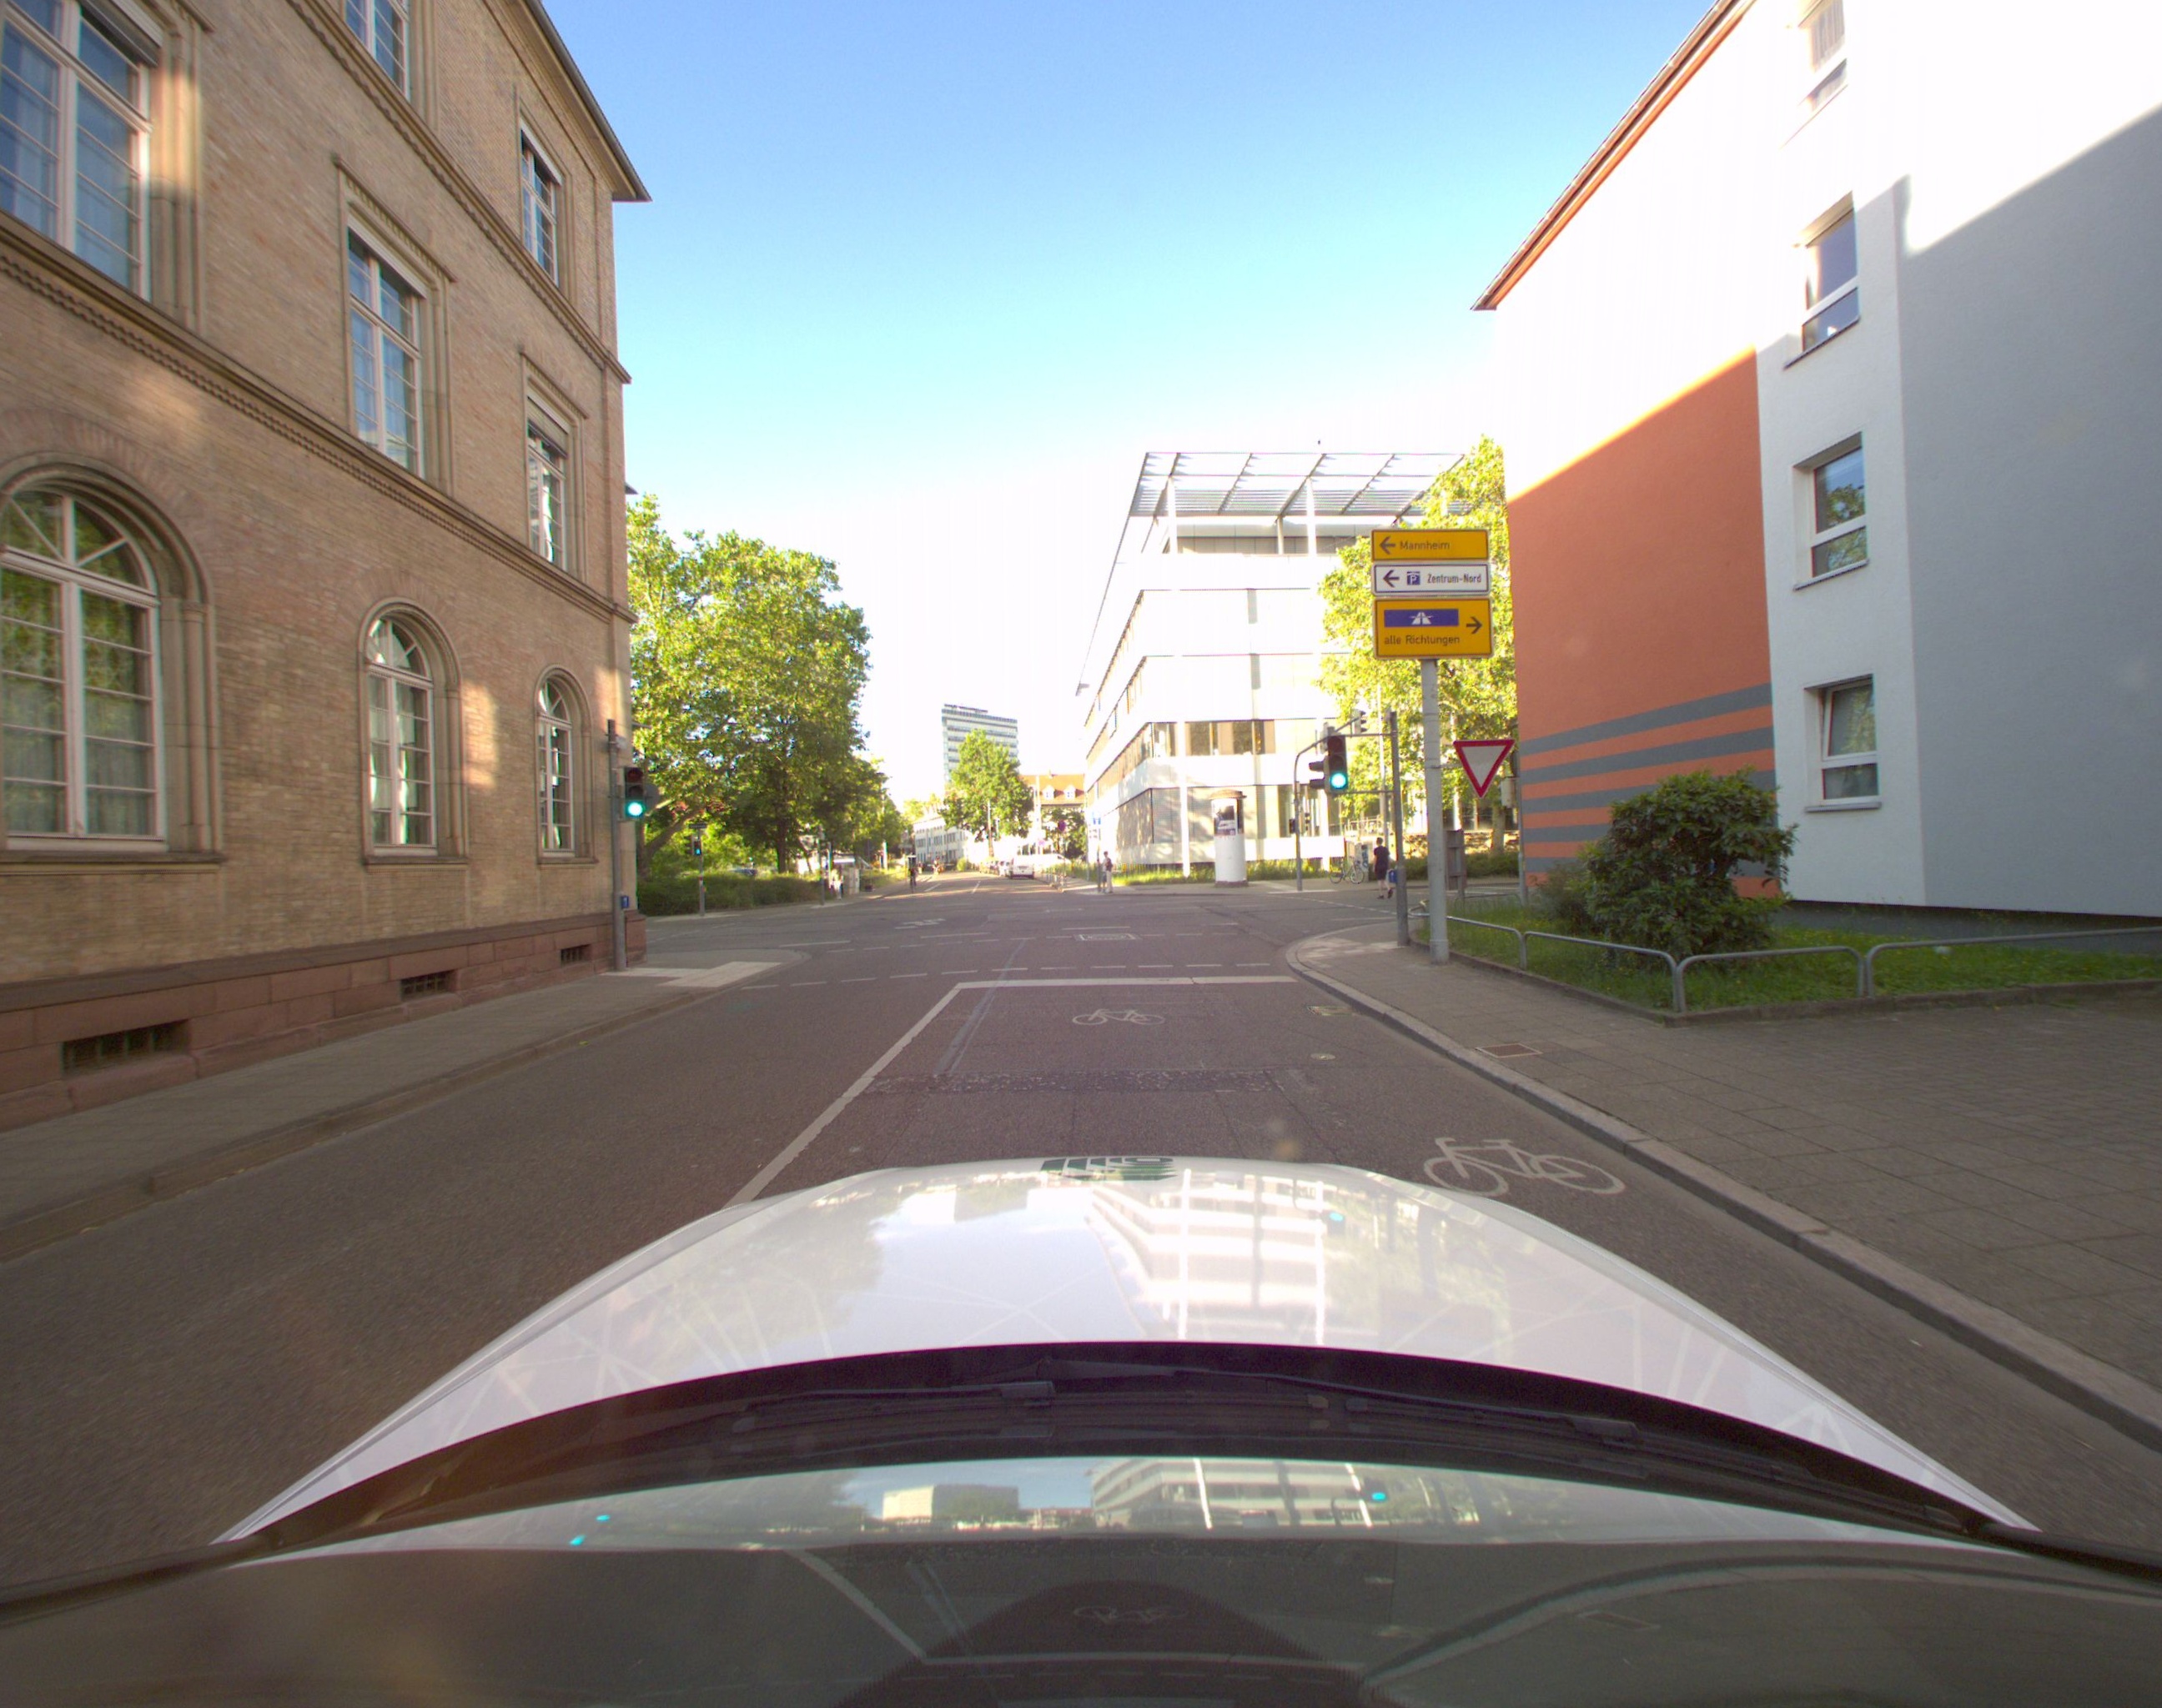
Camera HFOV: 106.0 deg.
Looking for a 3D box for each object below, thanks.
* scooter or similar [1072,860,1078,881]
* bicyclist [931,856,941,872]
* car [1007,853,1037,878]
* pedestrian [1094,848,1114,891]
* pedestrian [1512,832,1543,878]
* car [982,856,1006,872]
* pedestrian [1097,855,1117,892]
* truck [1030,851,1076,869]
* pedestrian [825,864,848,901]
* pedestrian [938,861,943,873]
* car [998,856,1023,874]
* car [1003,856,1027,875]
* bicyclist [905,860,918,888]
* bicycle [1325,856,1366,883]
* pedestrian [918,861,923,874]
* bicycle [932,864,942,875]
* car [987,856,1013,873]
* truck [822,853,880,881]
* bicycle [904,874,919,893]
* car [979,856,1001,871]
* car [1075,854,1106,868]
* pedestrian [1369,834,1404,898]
[{"bbox_3d":[-0.448,1.159,57.591,0.329,1.424,1.333,0,-1,-3],"label":"scooter or similar"},{"bbox_3d":[-14.686,1.005,82.689,0.865,1.515,1.016,-5,0,-9],"label":"bicyclist"},{"bbox_3d":[-4.658,0.902,63.843,2.084,1.795,4.404,-2,1,-7],"label":"car"},{"bbox_3d":[1.061,0.706,36.765,0.555,1.850,0.680,-5,0,18],"label":"pedestrian"},{"bbox_3d":[18.078,0.030,32.961,0.834,1.840,0.707,-1,0,-8],"label":"pedestrian"},{"bbox_3d":[-9.617,1.112,89.933,1.892,1.655,4.391,-2,1,-16],"label":"car"},{"bbox_3d":[1.149,0.860,36.154,0.560,1.540,0.673,-5,0,-16],"label":"pedestrian"},{"bbox_3d":[-3.546,0.778,102.235,5.350,2.014,1.989,-2,-1,-17],"label":"truck"},{"bbox_3d":[-11.863,1.369,39.532,0.701,1.723,0.954,-3,-1,-2],"label":"pedestrian"},{"bbox_3d":[-19.890,1.814,115.408,0.546,1.677,0.473,-3,0,-15],"label":"pedestrian"},{"bbox_3d":[-6.745,1.026,77.562,1.889,1.555,4.399,-2,1,-11],"label":"car"},{"bbox_3d":[-5.850,1.013,72.157,1.887,1.555,4.404,-2,1,-7],"label":"car"},{"bbox_3d":[-9.558,1.122,45.954,0.615,1.532,0.901,-3,0,-6],"label":"bicyclist"},{"bbox_3d":[11.242,0.645,34.672,0.510,1.049,1.670,-4,3,-32],"label":"bicycle"},{"bbox_3d":[-19.833,1.657,100.475,0.435,1.608,0.489,-2,-1,-24],"label":"pedestrian"},{"bbox_3d":[-14.645,1.588,82.668,0.865,1.009,2.407,-5,0,-8],"label":"bicycle"},{"bbox_3d":[-8.451,1.034,84.872,1.892,1.655,4.391,-2,1,-16],"label":"car"},{"bbox_3d":[-21.105,1.145,74.825,4.825,2.399,2.082,-2,0,-8],"label":"truck"},{"bbox_3d":[-9.537,1.636,45.951,0.615,0.970,1.837,-3,0,-6],"label":"bicycle"},{"bbox_3d":[-10.628,1.098,94.887,1.892,1.655,4.391,-2,1,-16],"label":"car"},{"bbox_3d":[1.212,0.878,103.271,3.563,1.546,1.549,-2,-1,-17],"label":"car"},{"bbox_3d":[8.929,0.348,23.810,0.704,1.840,0.838,-1,0,2],"label":"pedestrian"}]
